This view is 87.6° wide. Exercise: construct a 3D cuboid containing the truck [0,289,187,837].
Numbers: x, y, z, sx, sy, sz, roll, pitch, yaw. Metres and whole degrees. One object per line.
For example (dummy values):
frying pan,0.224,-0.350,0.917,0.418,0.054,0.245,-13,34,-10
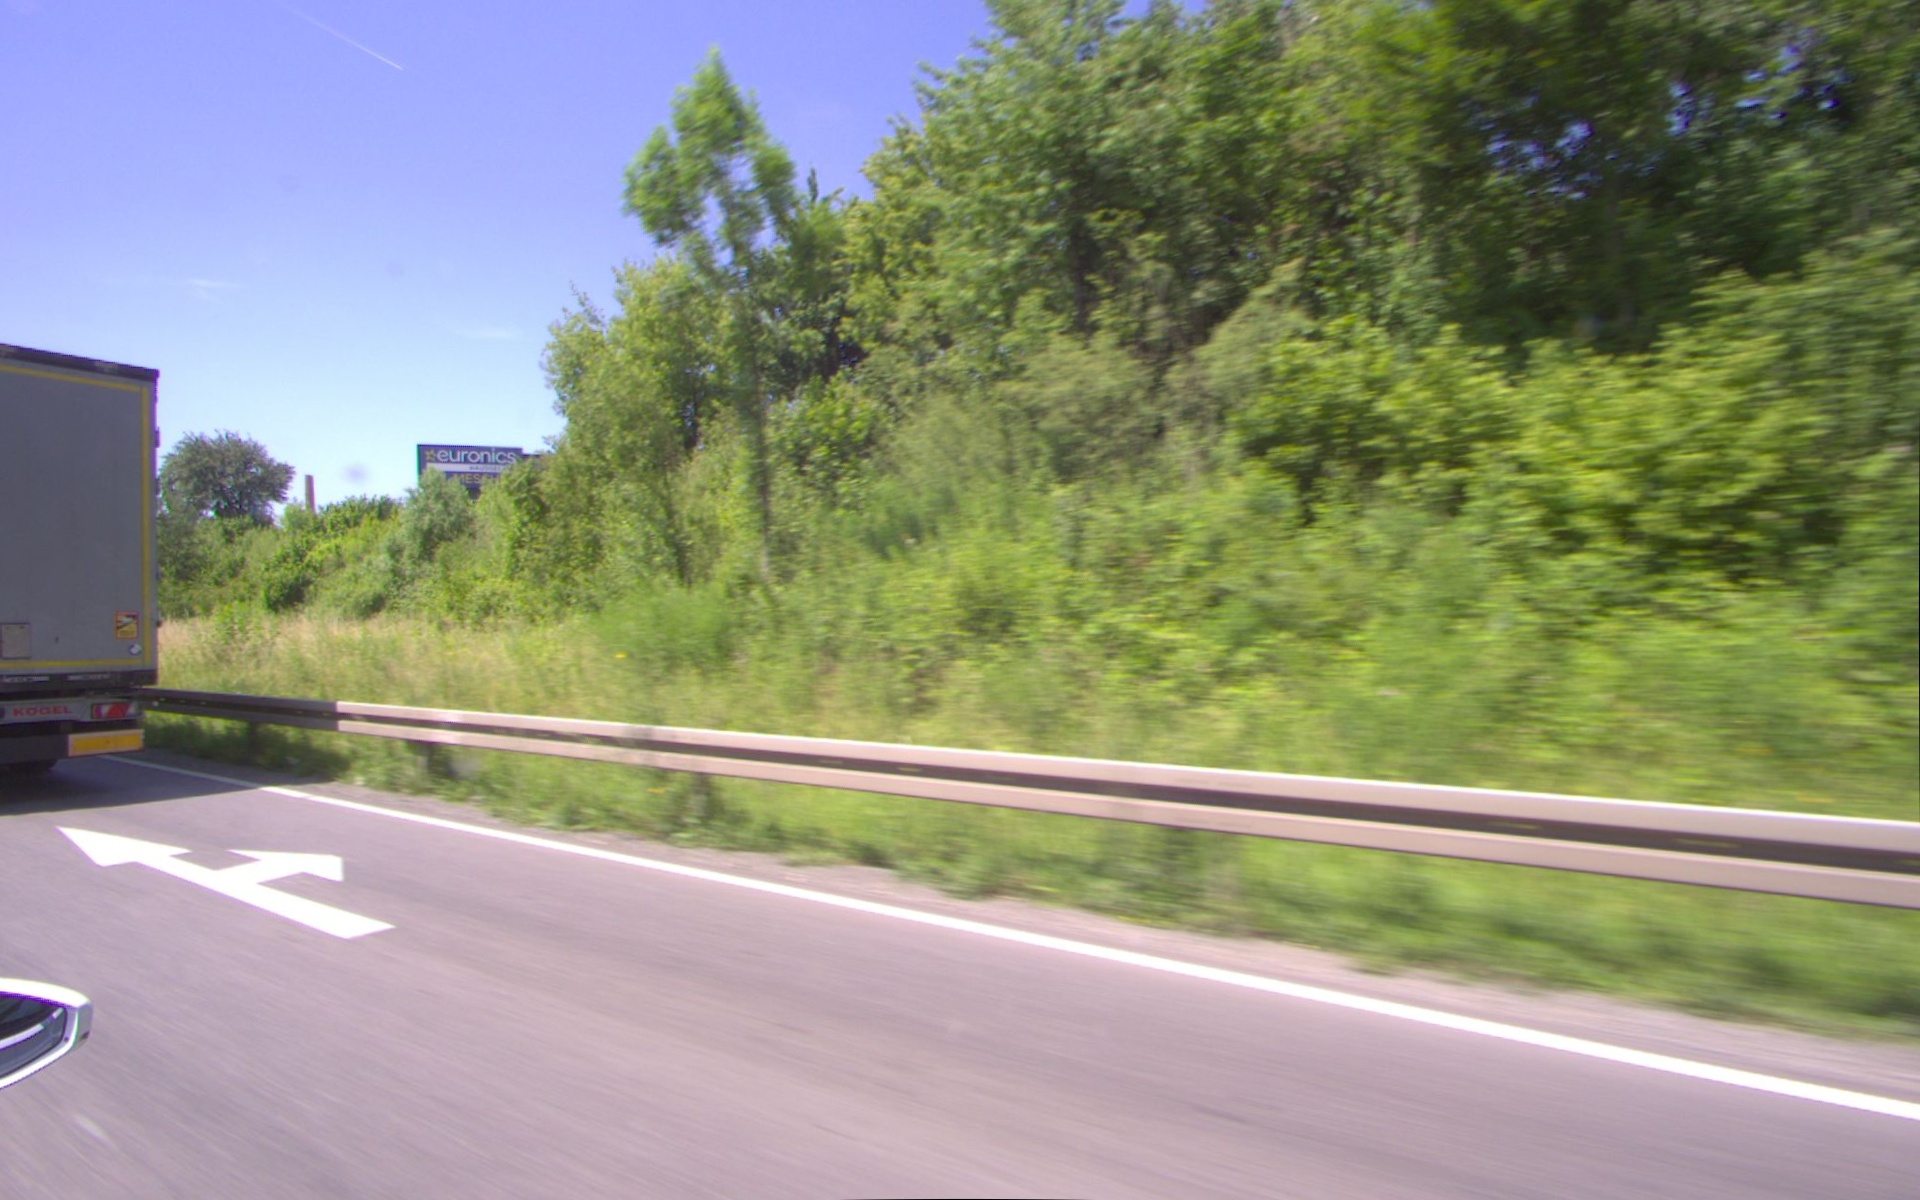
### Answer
truck,-15.039,-0.029,13.150,16.430,4.697,2.749,-2,-2,34
